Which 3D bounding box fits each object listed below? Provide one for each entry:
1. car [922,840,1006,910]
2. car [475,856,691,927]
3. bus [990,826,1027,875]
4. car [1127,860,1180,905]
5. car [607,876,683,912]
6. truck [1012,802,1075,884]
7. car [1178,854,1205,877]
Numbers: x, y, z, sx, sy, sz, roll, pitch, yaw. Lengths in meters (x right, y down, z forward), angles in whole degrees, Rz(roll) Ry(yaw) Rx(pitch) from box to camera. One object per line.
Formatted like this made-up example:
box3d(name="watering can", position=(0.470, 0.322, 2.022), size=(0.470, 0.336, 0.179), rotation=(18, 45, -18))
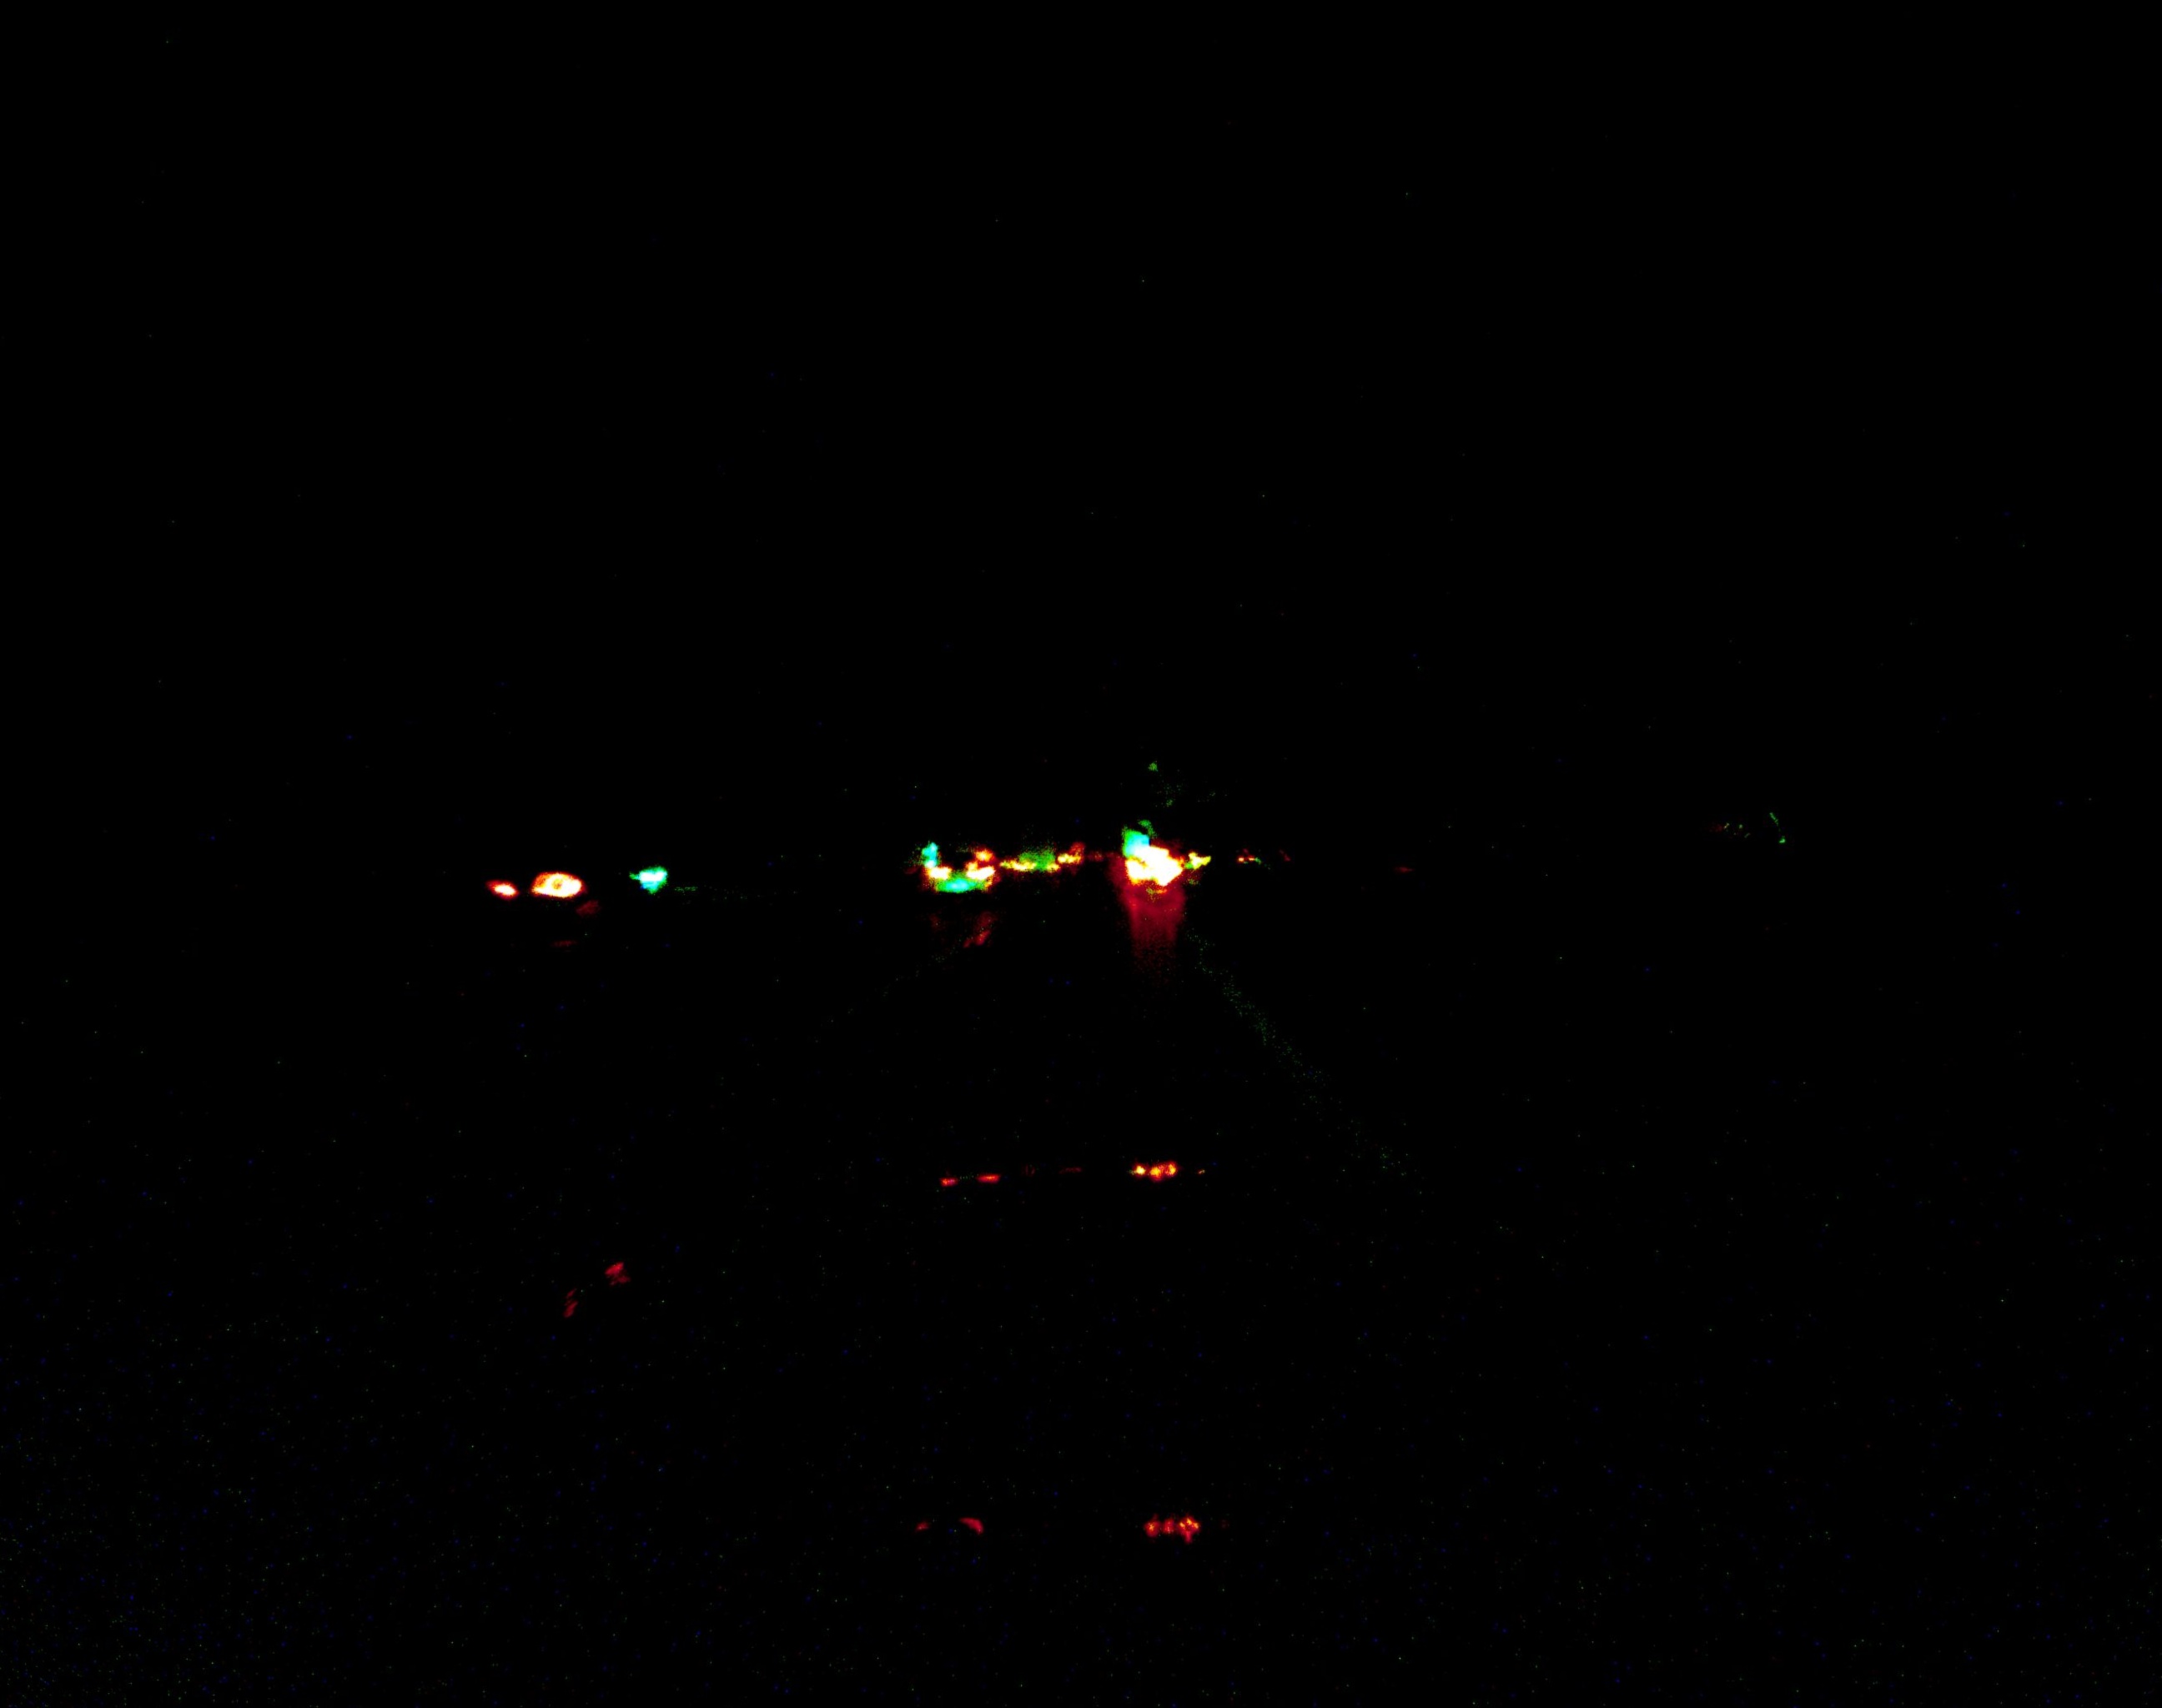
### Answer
box3d(name="car", position=(-3.599, 0.621, 25.914), size=(2.120, 2.014, 4.643), rotation=(0, 0, -1))
box3d(name="car", position=(-11.710, 0.796, 19.699), size=(1.987, 1.476, 5.165), rotation=(0, 0, 0))
box3d(name="bus", position=(-6.958, -0.308, 79.587), size=(3.089, 4.508, 10.902), rotation=(0, 0, -2))
box3d(name="car", position=(3.056, 1.191, 35.039), size=(1.986, 1.807, 4.000), rotation=(0, 0, 1))
box3d(name="car", position=(-23.807, 2.136, 44.649), size=(1.896, 1.807, 4.001), rotation=(0, 0, 2))
box3d(name="truck", position=(-2.647, -0.724, 62.147), size=(4.196, 5.648, 11.466), rotation=(0, 0, 0))
box3d(name="car", position=(8.961, 0.927, 66.307), size=(1.984, 1.807, 4.006), rotation=(0, 0, 5))
